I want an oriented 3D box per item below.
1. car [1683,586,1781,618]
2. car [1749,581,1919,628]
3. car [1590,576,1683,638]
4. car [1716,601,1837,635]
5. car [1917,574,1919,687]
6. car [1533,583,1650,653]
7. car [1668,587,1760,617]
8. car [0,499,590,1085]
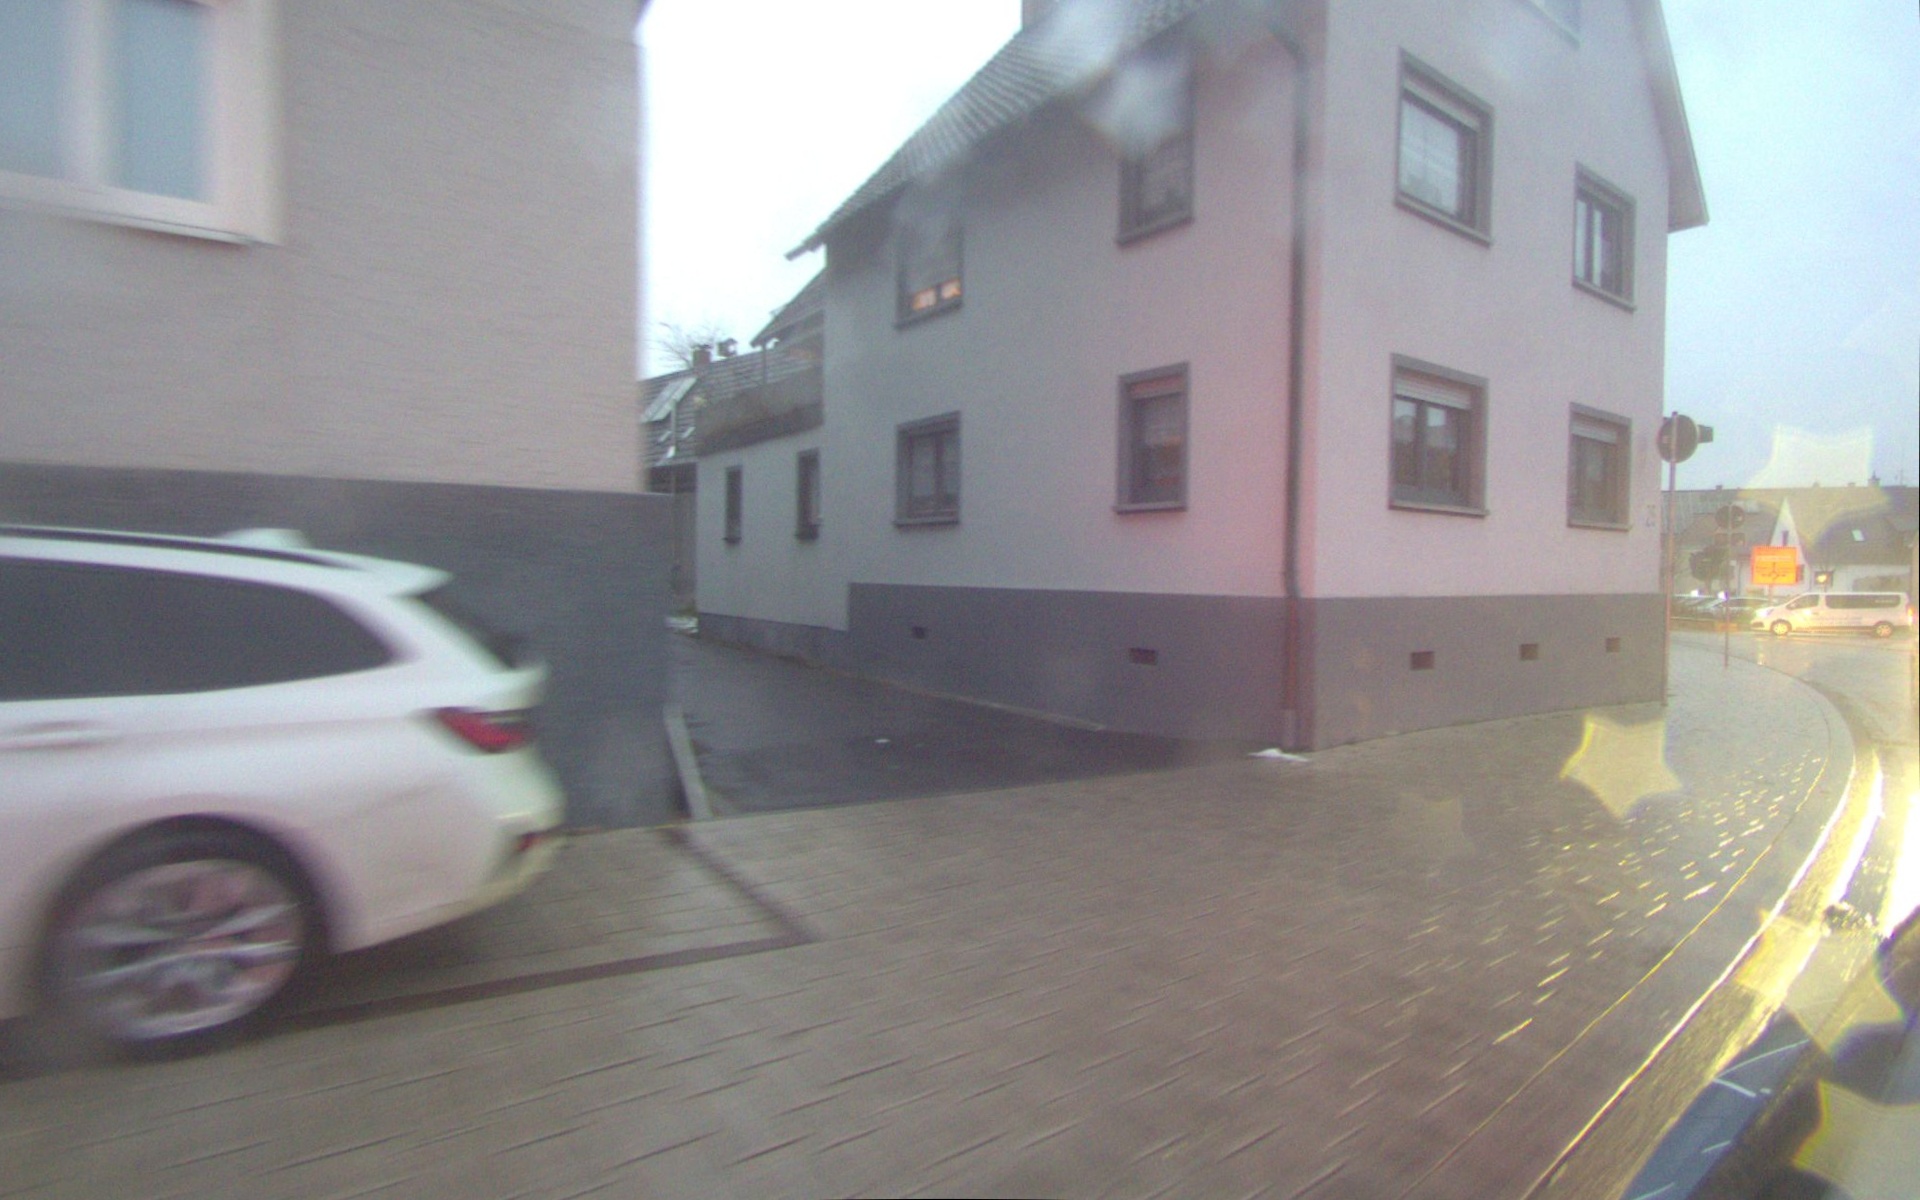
[{"bbox_3d":[48.248,0.111,63.337,4.459,1.890,1.857,2,1,19],"label":"car"},{"bbox_3d":[38.714,0.201,44.863,5.738,1.971,1.967,0,0,34],"label":"car"},{"bbox_3d":[23.608,0.223,35.510,1.959,1.984,4.809,2,1,25],"label":"car"},{"bbox_3d":[45.621,0.972,56.667,4.823,1.705,1.985,2,0,22],"label":"car"},{"bbox_3d":[13.717,0.486,12.531,2.260,1.663,4.995,1,1,38],"label":"car"},{"bbox_3d":[15.808,0.392,25.518,1.718,1.580,3.639,2,1,20],"label":"car"},{"bbox_3d":[49.067,0.125,65.952,4.371,1.824,1.833,2,1,19],"label":"car"},{"bbox_3d":[-3.601,0.429,2.938,4.452,1.484,1.892,1,2,-31],"label":"car"}]
